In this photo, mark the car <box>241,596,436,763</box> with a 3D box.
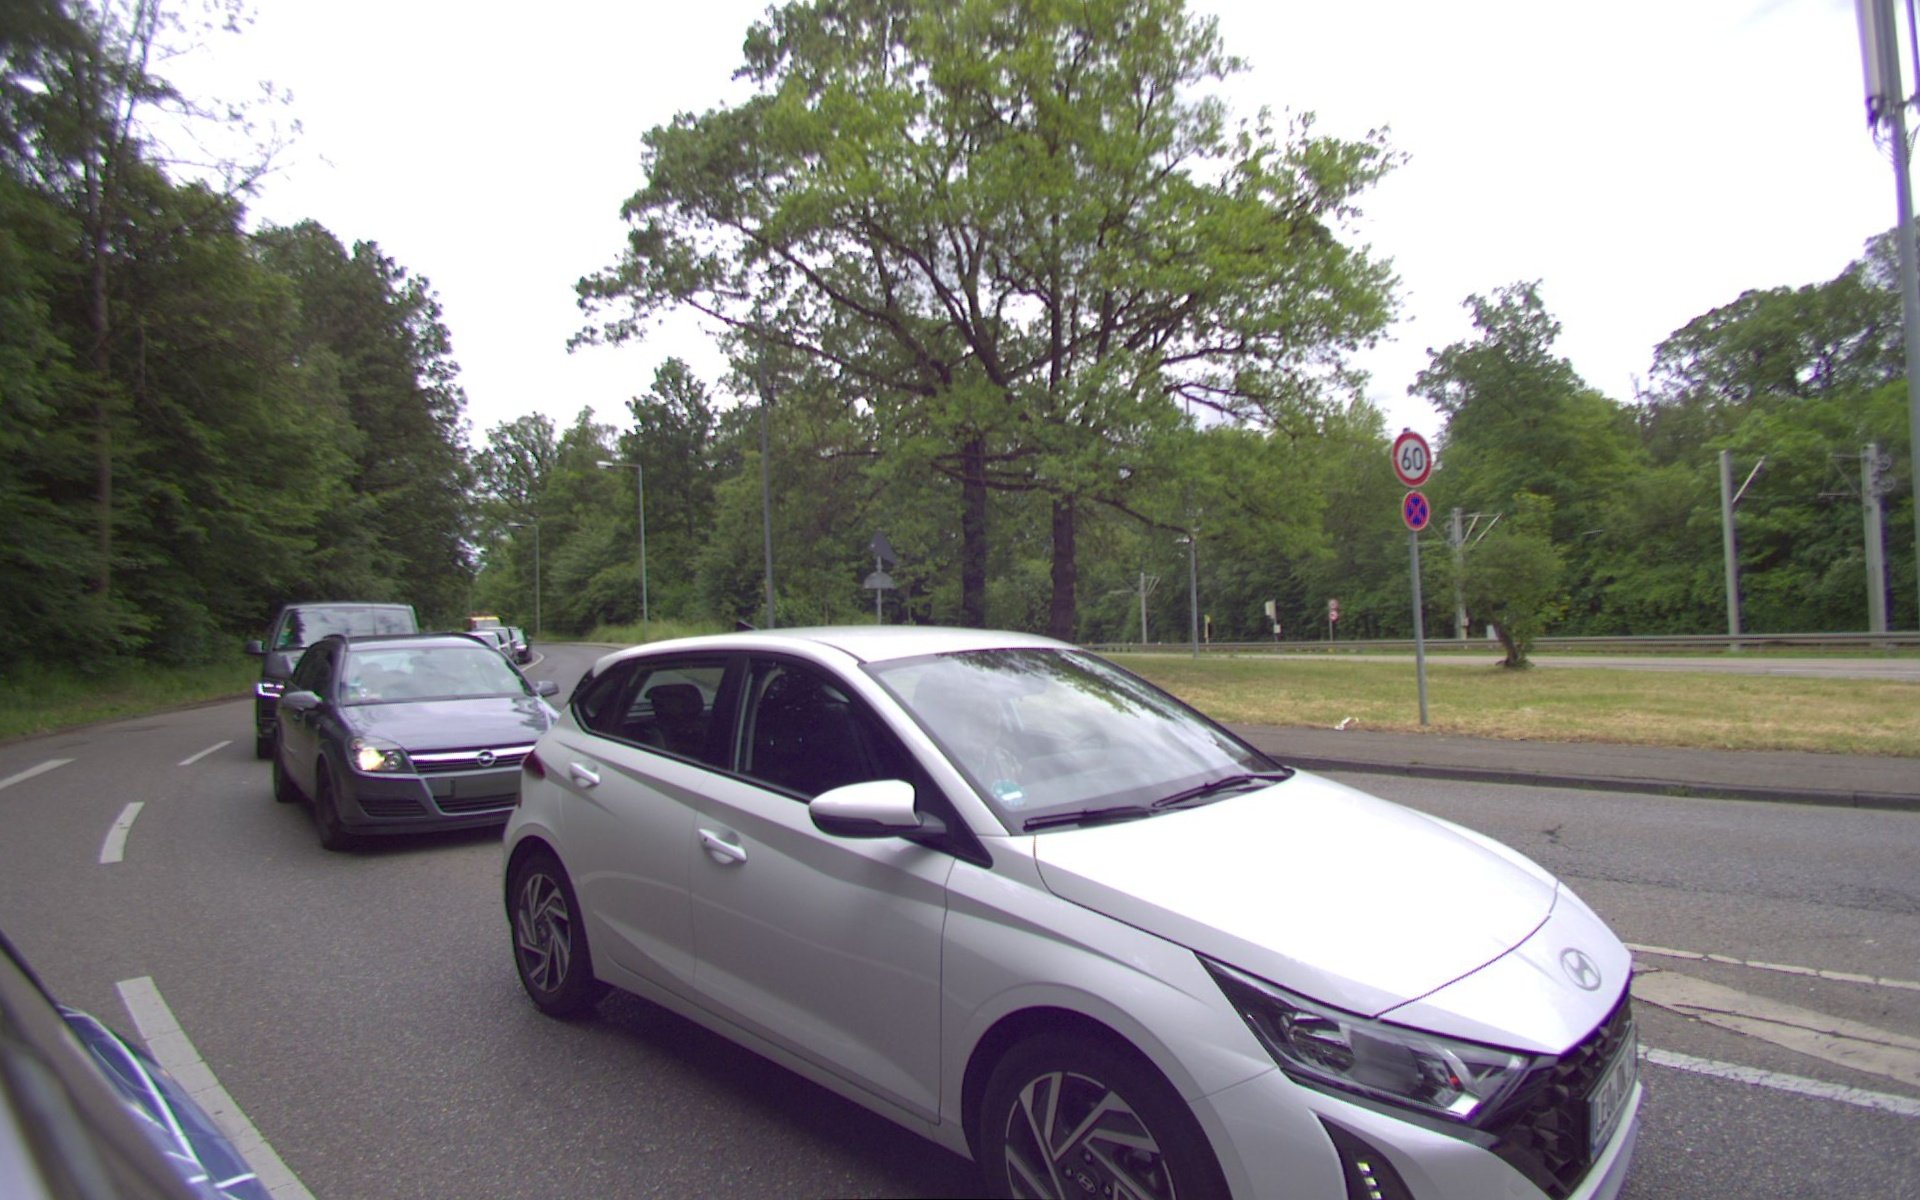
[{"bbox_3d":[-8.410,0.982,13.963,1.957,1.887,4.545,0,-2,-29],"label":"car"}]

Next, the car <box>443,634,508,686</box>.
[{"bbox_3d":[-15.387,1.855,32.240,1.748,1.511,3.885,0,-2,-25],"label":"car"}]

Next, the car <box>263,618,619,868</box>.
[{"bbox_3d":[-4.537,0.955,8.433,1.775,1.490,4.478,0,-2,-39],"label":"car"}]

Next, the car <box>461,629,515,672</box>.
[{"bbox_3d":[-17.932,1.885,38.485,1.748,1.511,3.885,0,-2,-25],"label":"car"}]

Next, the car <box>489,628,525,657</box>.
[{"bbox_3d":[-25.682,2.402,57.467,1.749,1.511,3.885,-1,-2,-22],"label":"car"}]

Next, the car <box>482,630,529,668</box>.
[{"bbox_3d":[-19.379,2.063,43.146,1.748,1.511,3.885,0,-2,-25],"label":"car"}]

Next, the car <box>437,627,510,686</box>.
[{"bbox_3d":[-13.637,1.546,28.458,1.748,1.511,3.885,0,-2,-25],"label":"car"}]

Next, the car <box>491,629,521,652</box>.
[{"bbox_3d":[-31.818,2.854,70.995,1.749,1.511,3.885,-1,-2,-22],"label":"car"}]

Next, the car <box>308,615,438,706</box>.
[{"bbox_3d":[-12.322,1.220,21.471,1.763,1.686,4.003,-1,-1,-21],"label":"car"}]

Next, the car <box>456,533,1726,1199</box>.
[{"bbox_3d":[-0.068,0.725,3.432,4.073,1.490,1.631,-3,-2,43],"label":"car"}]
